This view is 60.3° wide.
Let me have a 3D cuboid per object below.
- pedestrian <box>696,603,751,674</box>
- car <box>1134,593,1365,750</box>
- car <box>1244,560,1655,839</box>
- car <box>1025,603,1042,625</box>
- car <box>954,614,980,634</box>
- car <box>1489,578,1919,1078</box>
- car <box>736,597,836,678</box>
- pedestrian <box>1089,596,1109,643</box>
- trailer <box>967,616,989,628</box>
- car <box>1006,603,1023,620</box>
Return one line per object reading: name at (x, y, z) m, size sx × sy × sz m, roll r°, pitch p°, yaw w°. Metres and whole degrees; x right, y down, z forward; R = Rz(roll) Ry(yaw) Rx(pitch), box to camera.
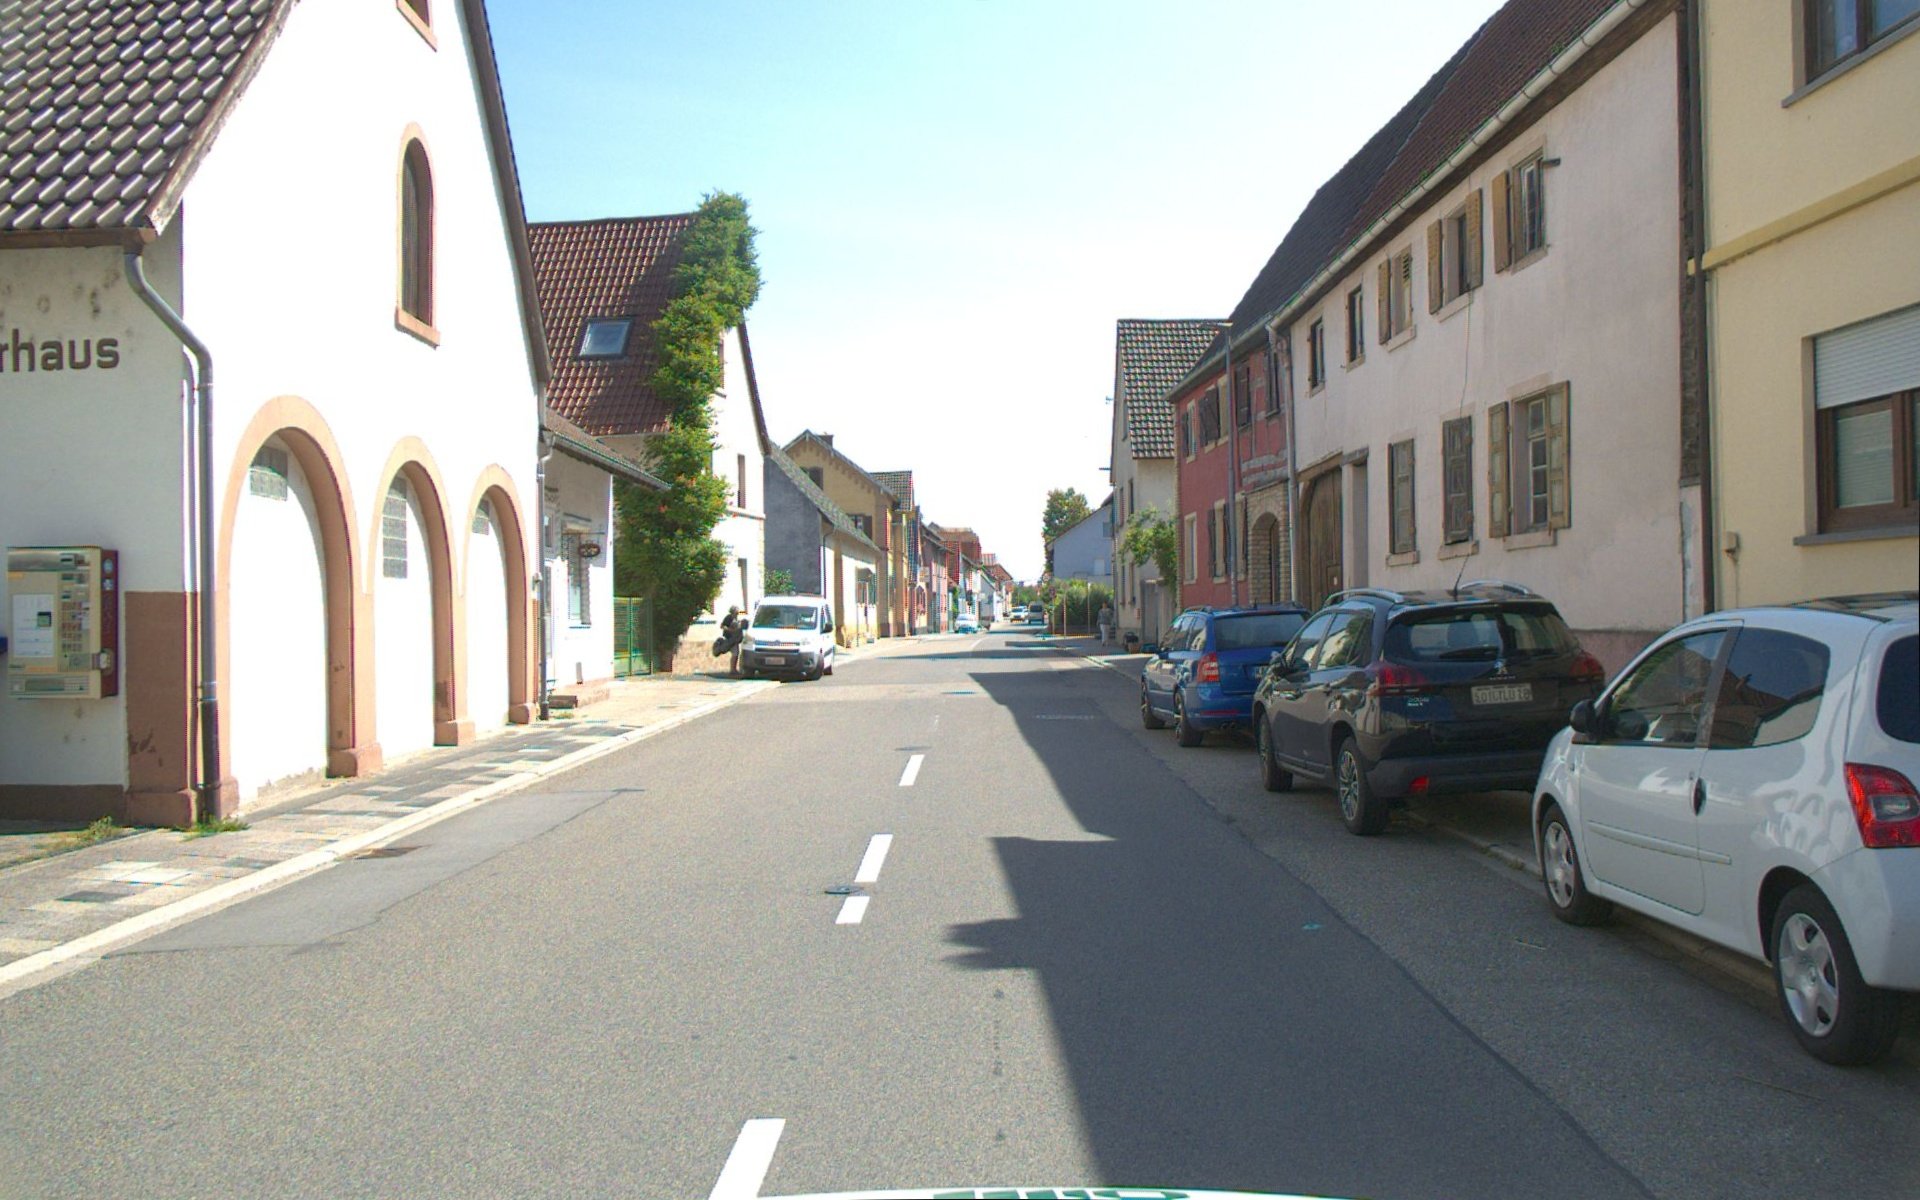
pedestrian at (-5.343, 0.856, 37.434) m, size 1.113 × 1.579 × 1.016 m, roll -1°, pitch 0°, yaw -2°
car at (3.111, 0.725, 18.669) m, size 1.664 × 1.495 × 4.408 m, roll -2°, pitch 0°, yaw -2°
car at (3.305, 0.609, 12.005) m, size 1.664 × 1.611 × 4.026 m, roll -2°, pitch 0°, yaw -1°
car at (9.018, 1.757, 203.374) m, size 1.976 × 2.612 × 4.000 m, roll -2°, pitch 0°, yaw 1°
car at (0.566, 1.902, 131.717) m, size 1.952 × 1.467 × 4.001 m, roll -2°, pitch 0°, yaw 2°
car at (3.533, 0.661, 6.767) m, size 1.519 × 1.463 × 3.720 m, roll -2°, pitch 0°, yaw 0°
car at (-3.849, 0.801, 37.144) m, size 1.817 × 1.676 × 4.429 m, roll -1°, pitch 0°, yaw -1°
pedestrian at (5.098, 0.712, 60.798) m, size 0.703 × 1.693 × 0.893 m, roll -1°, pitch 0°, yaw 5°
trailer at (1.641, 1.960, 148.587) m, size 1.952 × 1.109 × 4.000 m, roll 0°, pitch 0°, yaw 0°
car at (7.395, 1.556, 225.226) m, size 2.113 × 2.116 × 4.000 m, roll -2°, pitch -2°, yaw 1°
